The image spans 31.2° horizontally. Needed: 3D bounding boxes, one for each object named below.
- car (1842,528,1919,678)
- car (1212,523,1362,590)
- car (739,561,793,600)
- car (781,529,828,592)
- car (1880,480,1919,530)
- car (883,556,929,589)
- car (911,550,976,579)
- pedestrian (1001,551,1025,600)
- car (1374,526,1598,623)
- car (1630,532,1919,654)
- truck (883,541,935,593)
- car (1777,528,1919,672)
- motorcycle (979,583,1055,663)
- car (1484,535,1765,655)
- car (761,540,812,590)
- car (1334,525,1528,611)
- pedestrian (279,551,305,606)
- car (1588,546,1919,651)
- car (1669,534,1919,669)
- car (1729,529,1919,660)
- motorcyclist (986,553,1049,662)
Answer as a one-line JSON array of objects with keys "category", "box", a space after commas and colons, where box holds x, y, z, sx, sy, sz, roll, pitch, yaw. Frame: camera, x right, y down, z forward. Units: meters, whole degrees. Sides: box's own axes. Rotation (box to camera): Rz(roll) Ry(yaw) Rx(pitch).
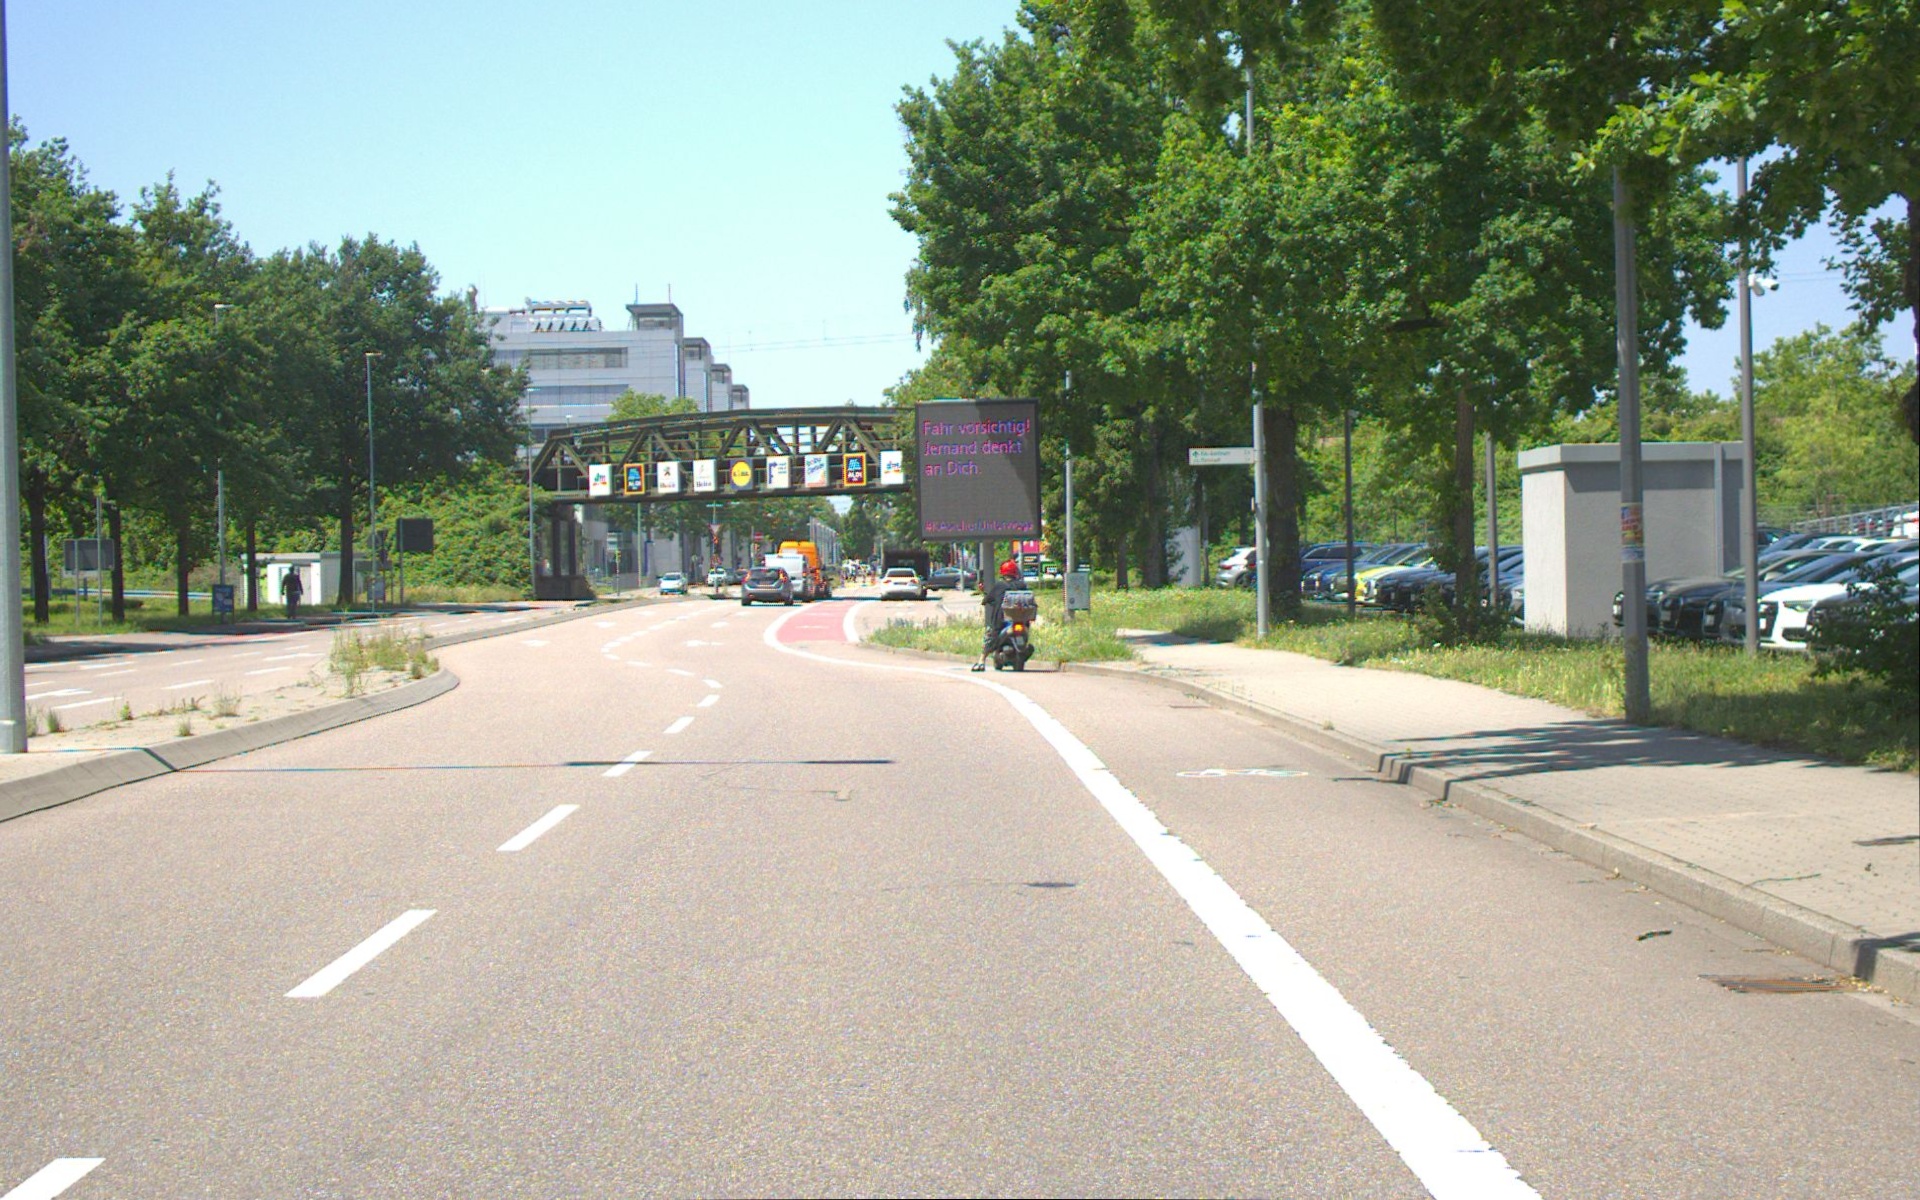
[{"category": "car", "box": [10.774, 0.154, 32.862, 4.130, 1.376, 1.779, 4, 1, -1]}, {"category": "car", "box": [9.244, -1.231, 97.363, 3.860, 1.598, 1.798, 4, 0, -5]}, {"category": "car", "box": [-7.219, -0.741, 128.480, 1.900, 1.371, 4.232, -1, 1, -2]}, {"category": "car", "box": [-7.189, -1.848, 159.709, 2.072, 2.845, 6.766, -1, 1, -2]}, {"category": "car", "box": [25.627, -2.413, 88.322, 3.523, 1.235, 1.542, 1, 1, -2]}, {"category": "car", "box": [-2.393, -1.212, 150.618, 1.924, 1.415, 4.000, 0, 1, -2]}, {"category": "car", "box": [-1.034, -2.263, 216.912, 3.987, 1.744, 1.892, -1, 1, 4]}, {"category": "pedestrian", "box": [1.505, -0.692, 97.465, 0.623, 1.370, 0.564, -1, 1, -3]}, {"category": "car", "box": [10.424, -0.512, 68.314, 3.986, 1.619, 1.798, 4, 0, -5]}, {"category": "car", "box": [10.755, -0.070, 43.217, 4.221, 1.337, 1.917, 3, 1, -1]}, {"category": "truck", "box": [-2.505, -1.630, 167.260, 2.458, 2.402, 7.134, 1, 1, -1]}, {"category": "car", "box": [10.845, 0.112, 35.573, 4.221, 1.381, 1.917, 4, 1, -1]}, {"category": "motorcycle", "box": [0.805, 0.318, 48.884, 0.716, 1.101, 1.831, 0, 0, -11]}, {"category": "car", "box": [10.625, -0.089, 55.124, 3.986, 1.612, 1.798, 4, 0, -5]}, {"category": "car", "box": [-7.082, -1.439, 140.759, 1.993, 2.007, 4.000, 0, 1, -2]}, {"category": "car", "box": [10.435, -0.707, 76.272, 3.860, 1.598, 1.798, 4, 0, -5]}, {"category": "pedestrian", "box": [-22.931, -0.748, 117.992, 0.743, 1.877, 0.577, -1, 1, 0]}, {"category": "car", "box": [10.680, -0.034, 45.835, 4.221, 1.337, 1.917, -1, 1, -1]}, {"category": "car", "box": [10.773, 0.047, 40.817, 4.221, 1.447, 1.917, 3, 1, -1]}, {"category": "car", "box": [10.903, -0.003, 38.161, 4.221, 1.337, 1.917, 3, 1, -1]}, {"category": "motorcyclist", "box": [0.813, 0.103, 48.844, 0.719, 1.524, 0.871, 0, 0, -11]}]
